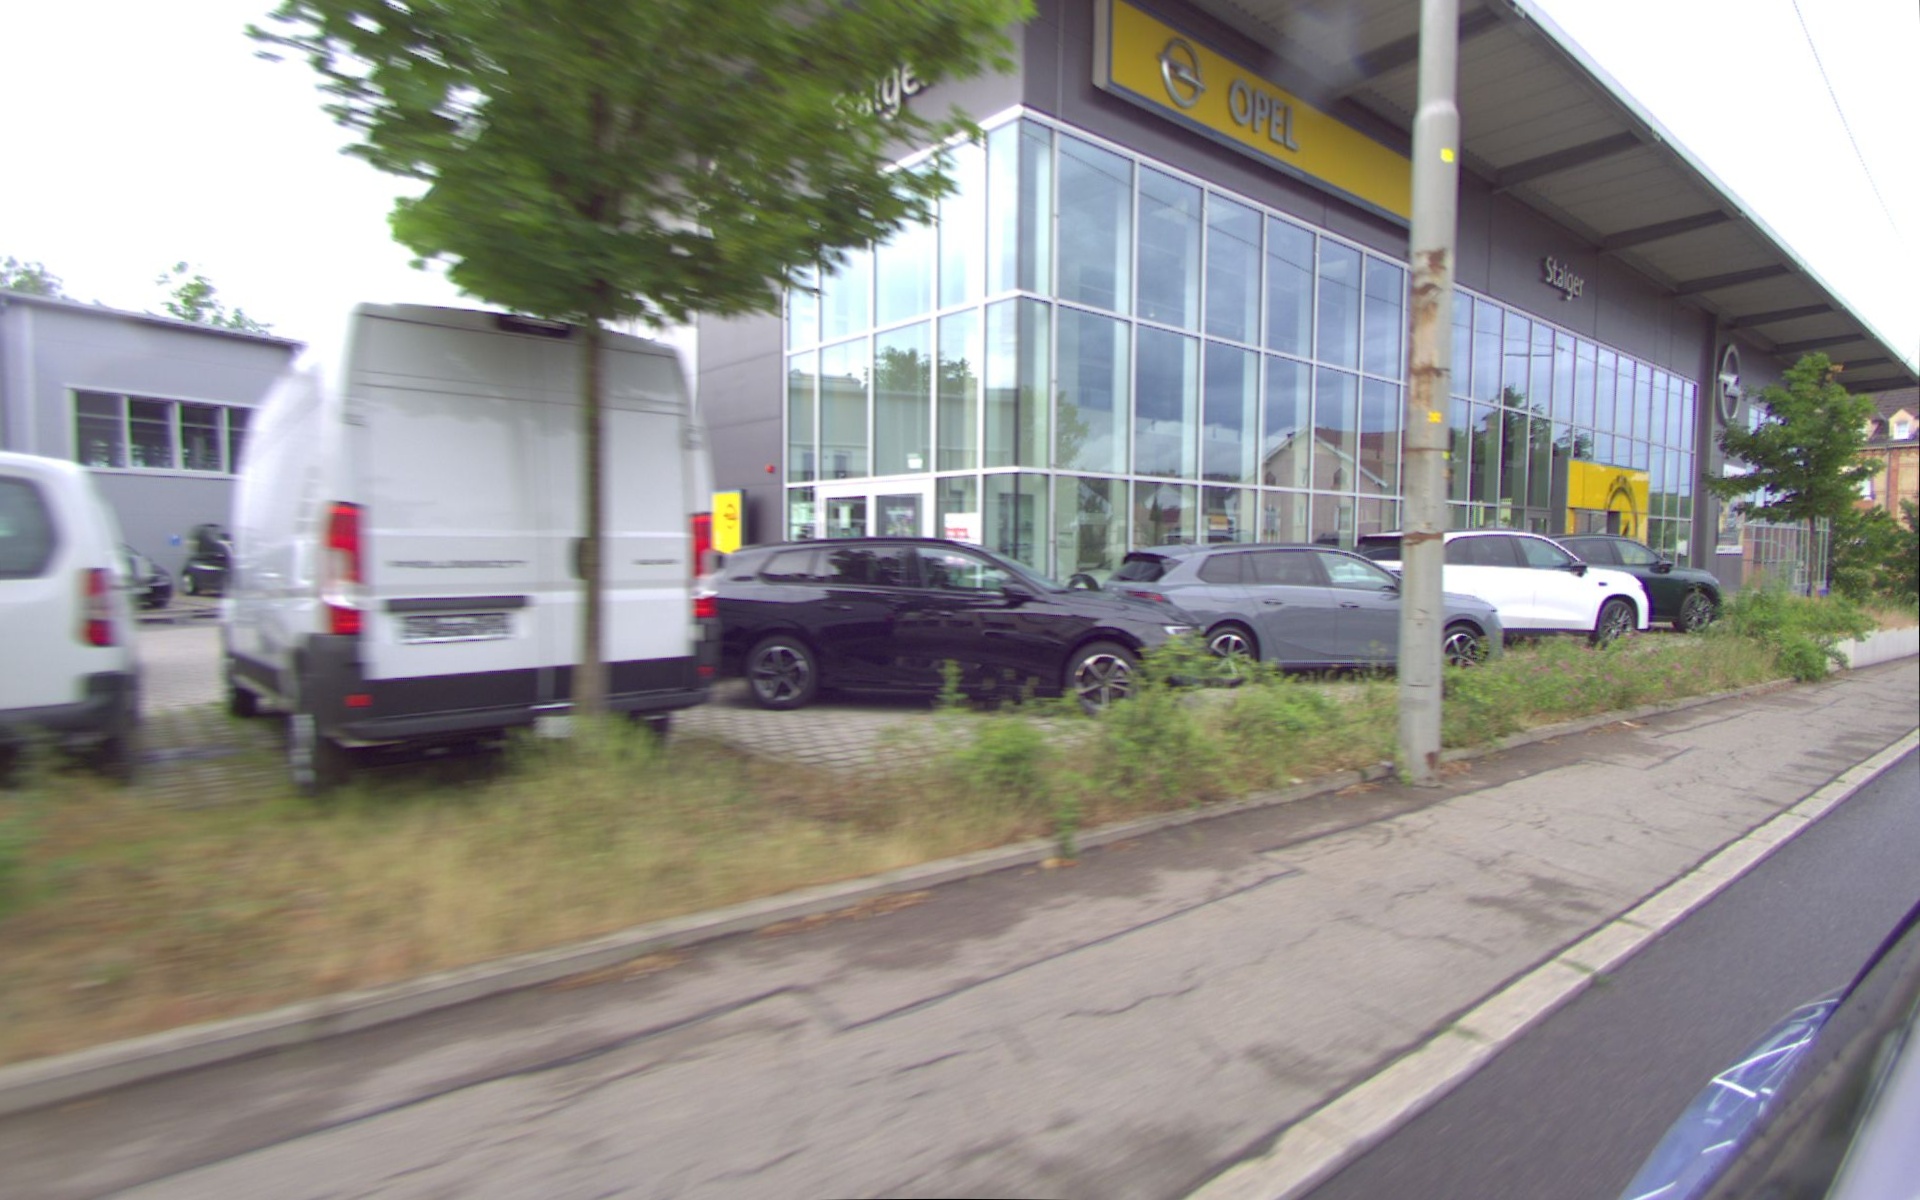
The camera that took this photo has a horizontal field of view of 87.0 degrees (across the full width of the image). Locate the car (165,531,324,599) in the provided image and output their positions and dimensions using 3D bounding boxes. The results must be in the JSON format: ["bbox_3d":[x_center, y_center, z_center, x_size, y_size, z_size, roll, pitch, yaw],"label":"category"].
[{"bbox_3d":[-18.028,-0.894,25.465,3.967,1.569,1.828,2,2,30],"label":"car"}]

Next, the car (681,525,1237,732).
[{"bbox_3d":[0.009,0.140,9.025,4.441,1.472,1.913,2,4,7],"label":"car"}]

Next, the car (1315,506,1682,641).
[{"bbox_3d":[7.703,-0.401,14.591,4.481,1.731,2.006,0,4,-17],"label":"car"}]

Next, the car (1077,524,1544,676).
[{"bbox_3d":[3.762,-0.036,11.195,4.476,1.472,1.921,1,4,-12],"label":"car"}]

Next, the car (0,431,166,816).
[{"bbox_3d":[-6.189,0.072,6.336,1.810,1.868,4.139,-3,4,-38],"label":"car"}]

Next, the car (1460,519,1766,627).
[{"bbox_3d":[11.413,-0.487,17.793,4.335,1.731,2.006,1,4,-14],"label":"car"}]

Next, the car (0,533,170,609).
[{"bbox_3d":[-19.275,-0.685,22.117,3.967,1.440,1.822,4,4,30],"label":"car"}]

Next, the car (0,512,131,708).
[{"bbox_3d":[-9.511,0.017,10.052,1.834,1.660,4.146,-1,2,-41],"label":"car"}]

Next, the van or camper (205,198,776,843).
[{"bbox_3d":[-3.798,-0.420,7.295,2.310,2.758,5.749,0,1,-40],"label":"van or camper"}]
